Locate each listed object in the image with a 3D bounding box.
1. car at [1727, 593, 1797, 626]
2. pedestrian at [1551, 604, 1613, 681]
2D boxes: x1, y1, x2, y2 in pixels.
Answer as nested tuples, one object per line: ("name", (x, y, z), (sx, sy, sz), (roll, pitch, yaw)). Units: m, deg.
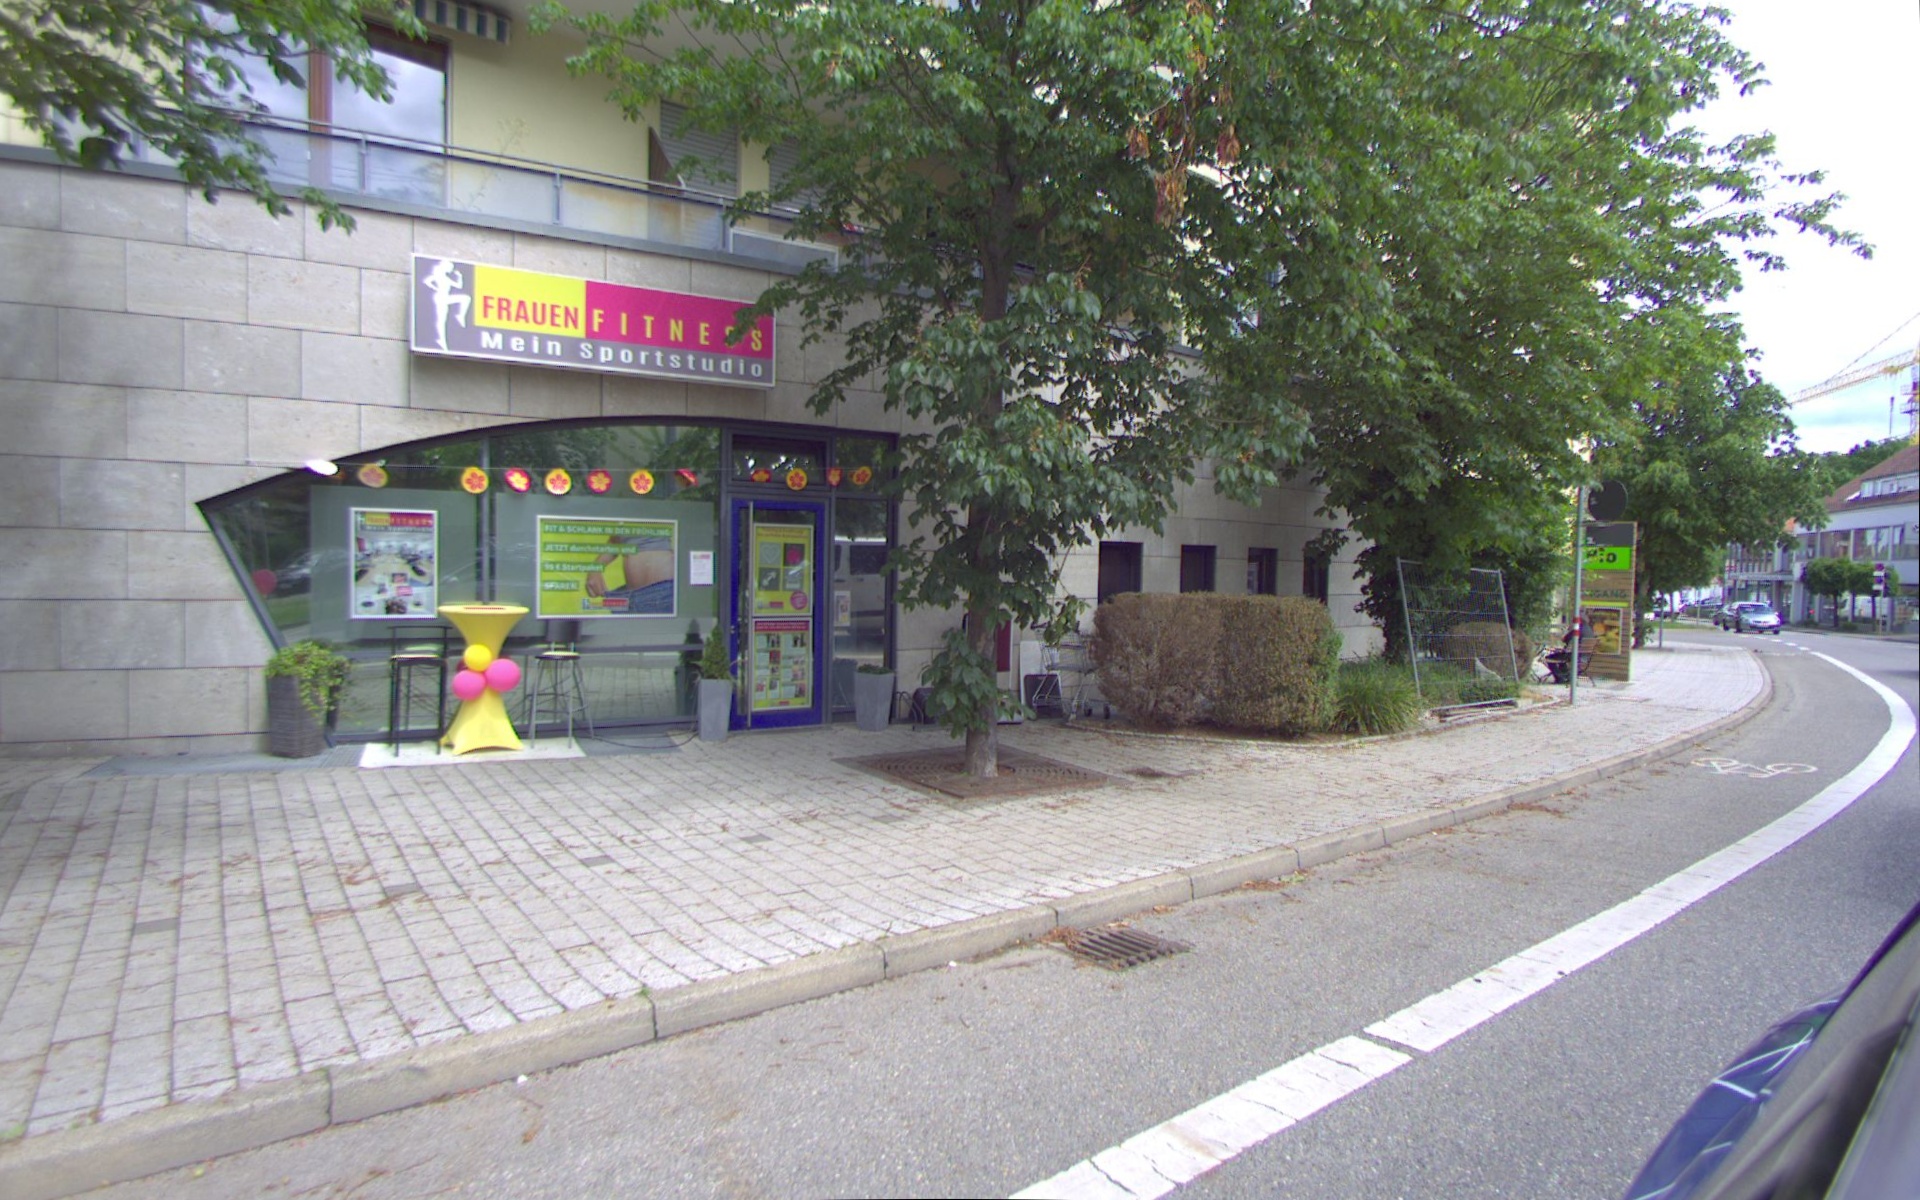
("car", (39.308, 0.436, 49.680), (1.675, 1.505, 3.969), (0, 0, 23))
("pedestrian", (11.202, 0.749, 18.227), (0.740, 1.317, 0.730), (0, 2, -41))
